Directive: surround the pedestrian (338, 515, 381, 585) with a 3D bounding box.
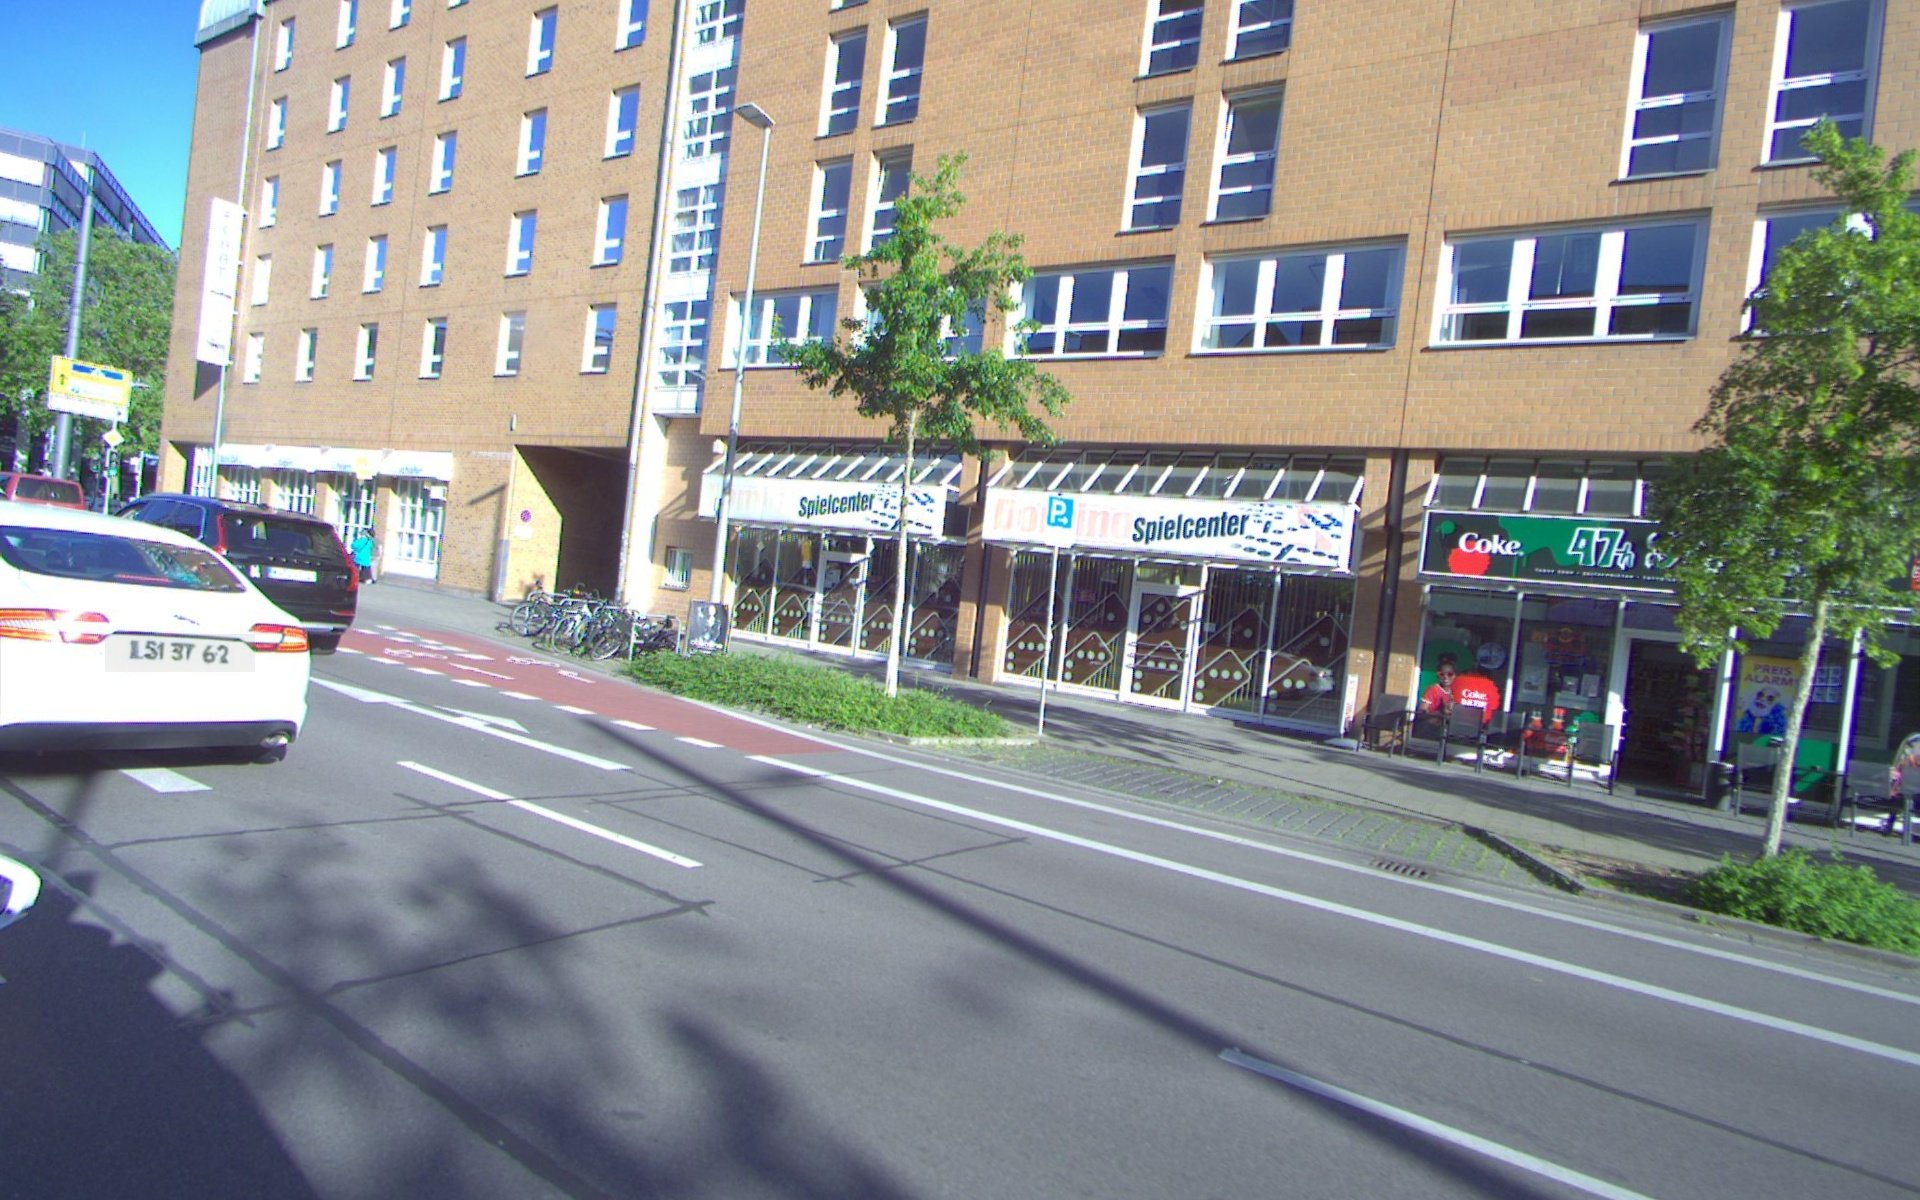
[{"bbox_3d":[-16.880,-1.403,28.277,0.736,1.844,0.607,7,1,31],"label":"pedestrian"}]

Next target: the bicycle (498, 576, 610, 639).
[{"bbox_3d":[-8.118,0.172,20.167,0.617,1.088,1.940,7,1,43],"label":"bicycle"}]

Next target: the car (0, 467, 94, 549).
[{"bbox_3d":[-26.989,-2.710,29.090,3.935,1.986,1.862,7,0,33],"label":"car"}]

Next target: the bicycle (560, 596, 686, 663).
[{"bbox_3d":[-5.759,0.522,17.270,1.936,0.981,0.548,6,1,-41],"label":"bicycle"}]

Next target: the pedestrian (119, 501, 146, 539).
[{"bbox_3d":[-39.461,-3.798,47.960,0.511,1.680,0.698,7,-1,32],"label":"pedestrian"}]

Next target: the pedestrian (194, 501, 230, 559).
[{"bbox_3d":[-25.258,-2.371,33.966,0.736,1.844,0.607,7,1,31],"label":"pedestrian"}]

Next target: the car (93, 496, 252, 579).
[{"bbox_3d":[-19.049,-1.522,24.306,3.933,1.549,1.669,7,0,31],"label":"car"}]

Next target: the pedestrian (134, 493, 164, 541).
[{"bbox_3d":[-33.434,-3.423,41.477,0.736,1.844,0.607,7,1,31],"label":"pedestrian"}]

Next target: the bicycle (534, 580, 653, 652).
[{"bbox_3d":[-6.594,0.316,18.189,0.484,1.151,1.941,7,1,42],"label":"bicycle"}]

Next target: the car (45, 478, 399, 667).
[{"bbox_3d":[-9.494,-0.389,12.846,4.556,1.779,1.979,7,-2,32],"label":"car"}]

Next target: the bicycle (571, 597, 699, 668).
[{"bbox_3d":[-5.418,0.563,16.863,1.936,1.035,0.496,6,1,-41],"label":"bicycle"}]

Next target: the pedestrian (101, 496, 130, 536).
[{"bbox_3d":[-38.283,-3.820,45.606,0.511,1.680,0.685,7,-1,32],"label":"pedestrian"}]

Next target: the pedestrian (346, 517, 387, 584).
[{"bbox_3d":[-17.163,-1.429,29.097,0.736,1.844,0.607,7,1,31],"label":"pedestrian"}]

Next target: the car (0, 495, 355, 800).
[{"bbox_3d":[-6.168,0.059,6.518,4.739,1.430,1.784,7,-2,32],"label":"car"}]

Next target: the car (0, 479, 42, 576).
[{"bbox_3d":[-19.054,-1.566,18.618,4.306,1.659,1.853,7,-1,32],"label":"car"}]

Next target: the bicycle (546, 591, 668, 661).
[{"bbox_3d":[-6.231,0.475,17.829,0.547,1.088,1.941,7,1,42],"label":"bicycle"}]

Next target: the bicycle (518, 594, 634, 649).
[{"bbox_3d":[-7.232,0.411,18.982,1.930,0.846,0.550,6,1,-32],"label":"bicycle"}]
